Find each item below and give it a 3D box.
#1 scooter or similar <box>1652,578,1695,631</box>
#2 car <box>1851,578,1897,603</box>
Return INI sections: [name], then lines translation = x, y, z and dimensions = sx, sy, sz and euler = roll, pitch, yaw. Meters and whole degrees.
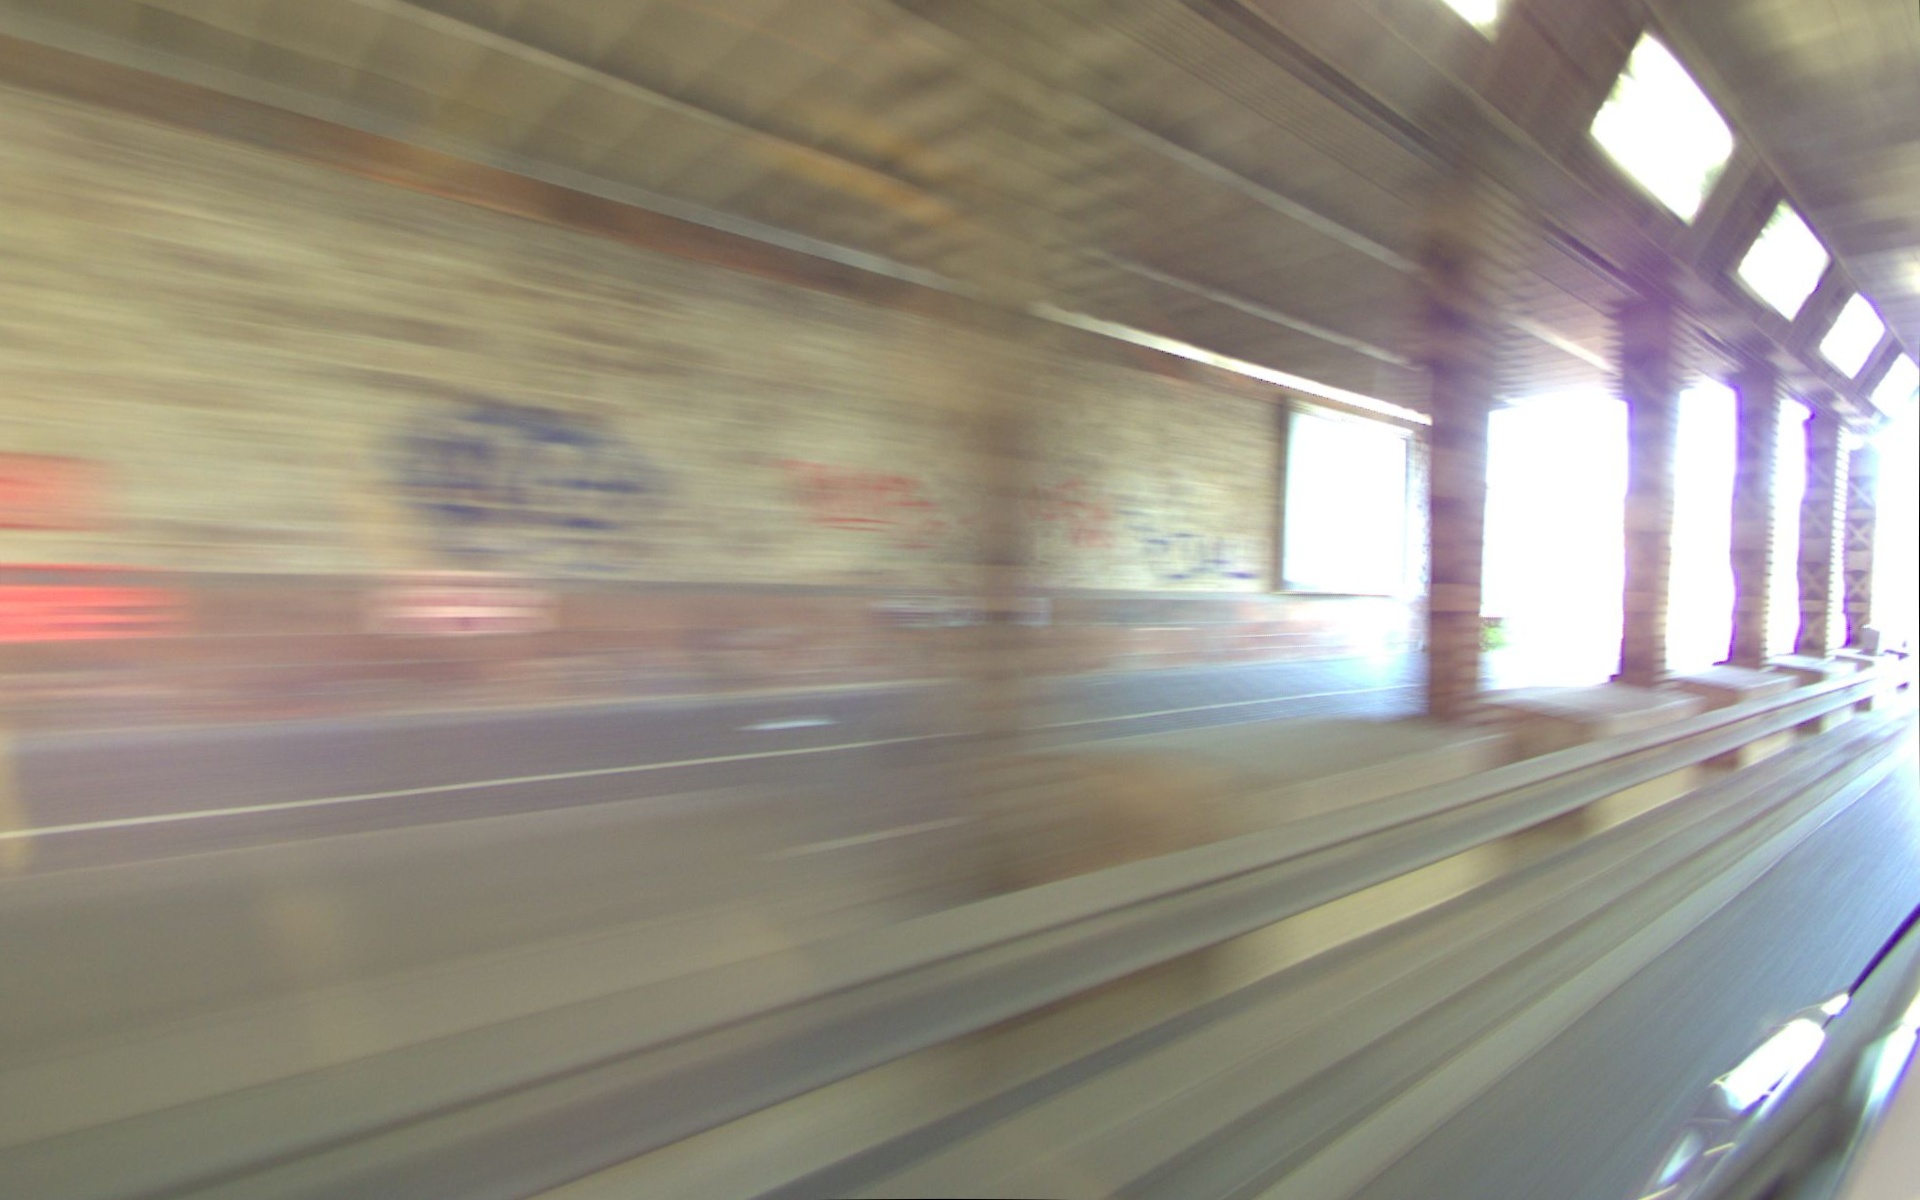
[scooter or similar]
translation = 17.190, 0.092, 24.368
dimensions = 1.268, 1.212, 0.538
euler = -1, 2, -40
[car]
translation = 58.619, -0.630, 64.899
dimensions = 4.203, 1.530, 1.887
euler = -1, 1, -44
